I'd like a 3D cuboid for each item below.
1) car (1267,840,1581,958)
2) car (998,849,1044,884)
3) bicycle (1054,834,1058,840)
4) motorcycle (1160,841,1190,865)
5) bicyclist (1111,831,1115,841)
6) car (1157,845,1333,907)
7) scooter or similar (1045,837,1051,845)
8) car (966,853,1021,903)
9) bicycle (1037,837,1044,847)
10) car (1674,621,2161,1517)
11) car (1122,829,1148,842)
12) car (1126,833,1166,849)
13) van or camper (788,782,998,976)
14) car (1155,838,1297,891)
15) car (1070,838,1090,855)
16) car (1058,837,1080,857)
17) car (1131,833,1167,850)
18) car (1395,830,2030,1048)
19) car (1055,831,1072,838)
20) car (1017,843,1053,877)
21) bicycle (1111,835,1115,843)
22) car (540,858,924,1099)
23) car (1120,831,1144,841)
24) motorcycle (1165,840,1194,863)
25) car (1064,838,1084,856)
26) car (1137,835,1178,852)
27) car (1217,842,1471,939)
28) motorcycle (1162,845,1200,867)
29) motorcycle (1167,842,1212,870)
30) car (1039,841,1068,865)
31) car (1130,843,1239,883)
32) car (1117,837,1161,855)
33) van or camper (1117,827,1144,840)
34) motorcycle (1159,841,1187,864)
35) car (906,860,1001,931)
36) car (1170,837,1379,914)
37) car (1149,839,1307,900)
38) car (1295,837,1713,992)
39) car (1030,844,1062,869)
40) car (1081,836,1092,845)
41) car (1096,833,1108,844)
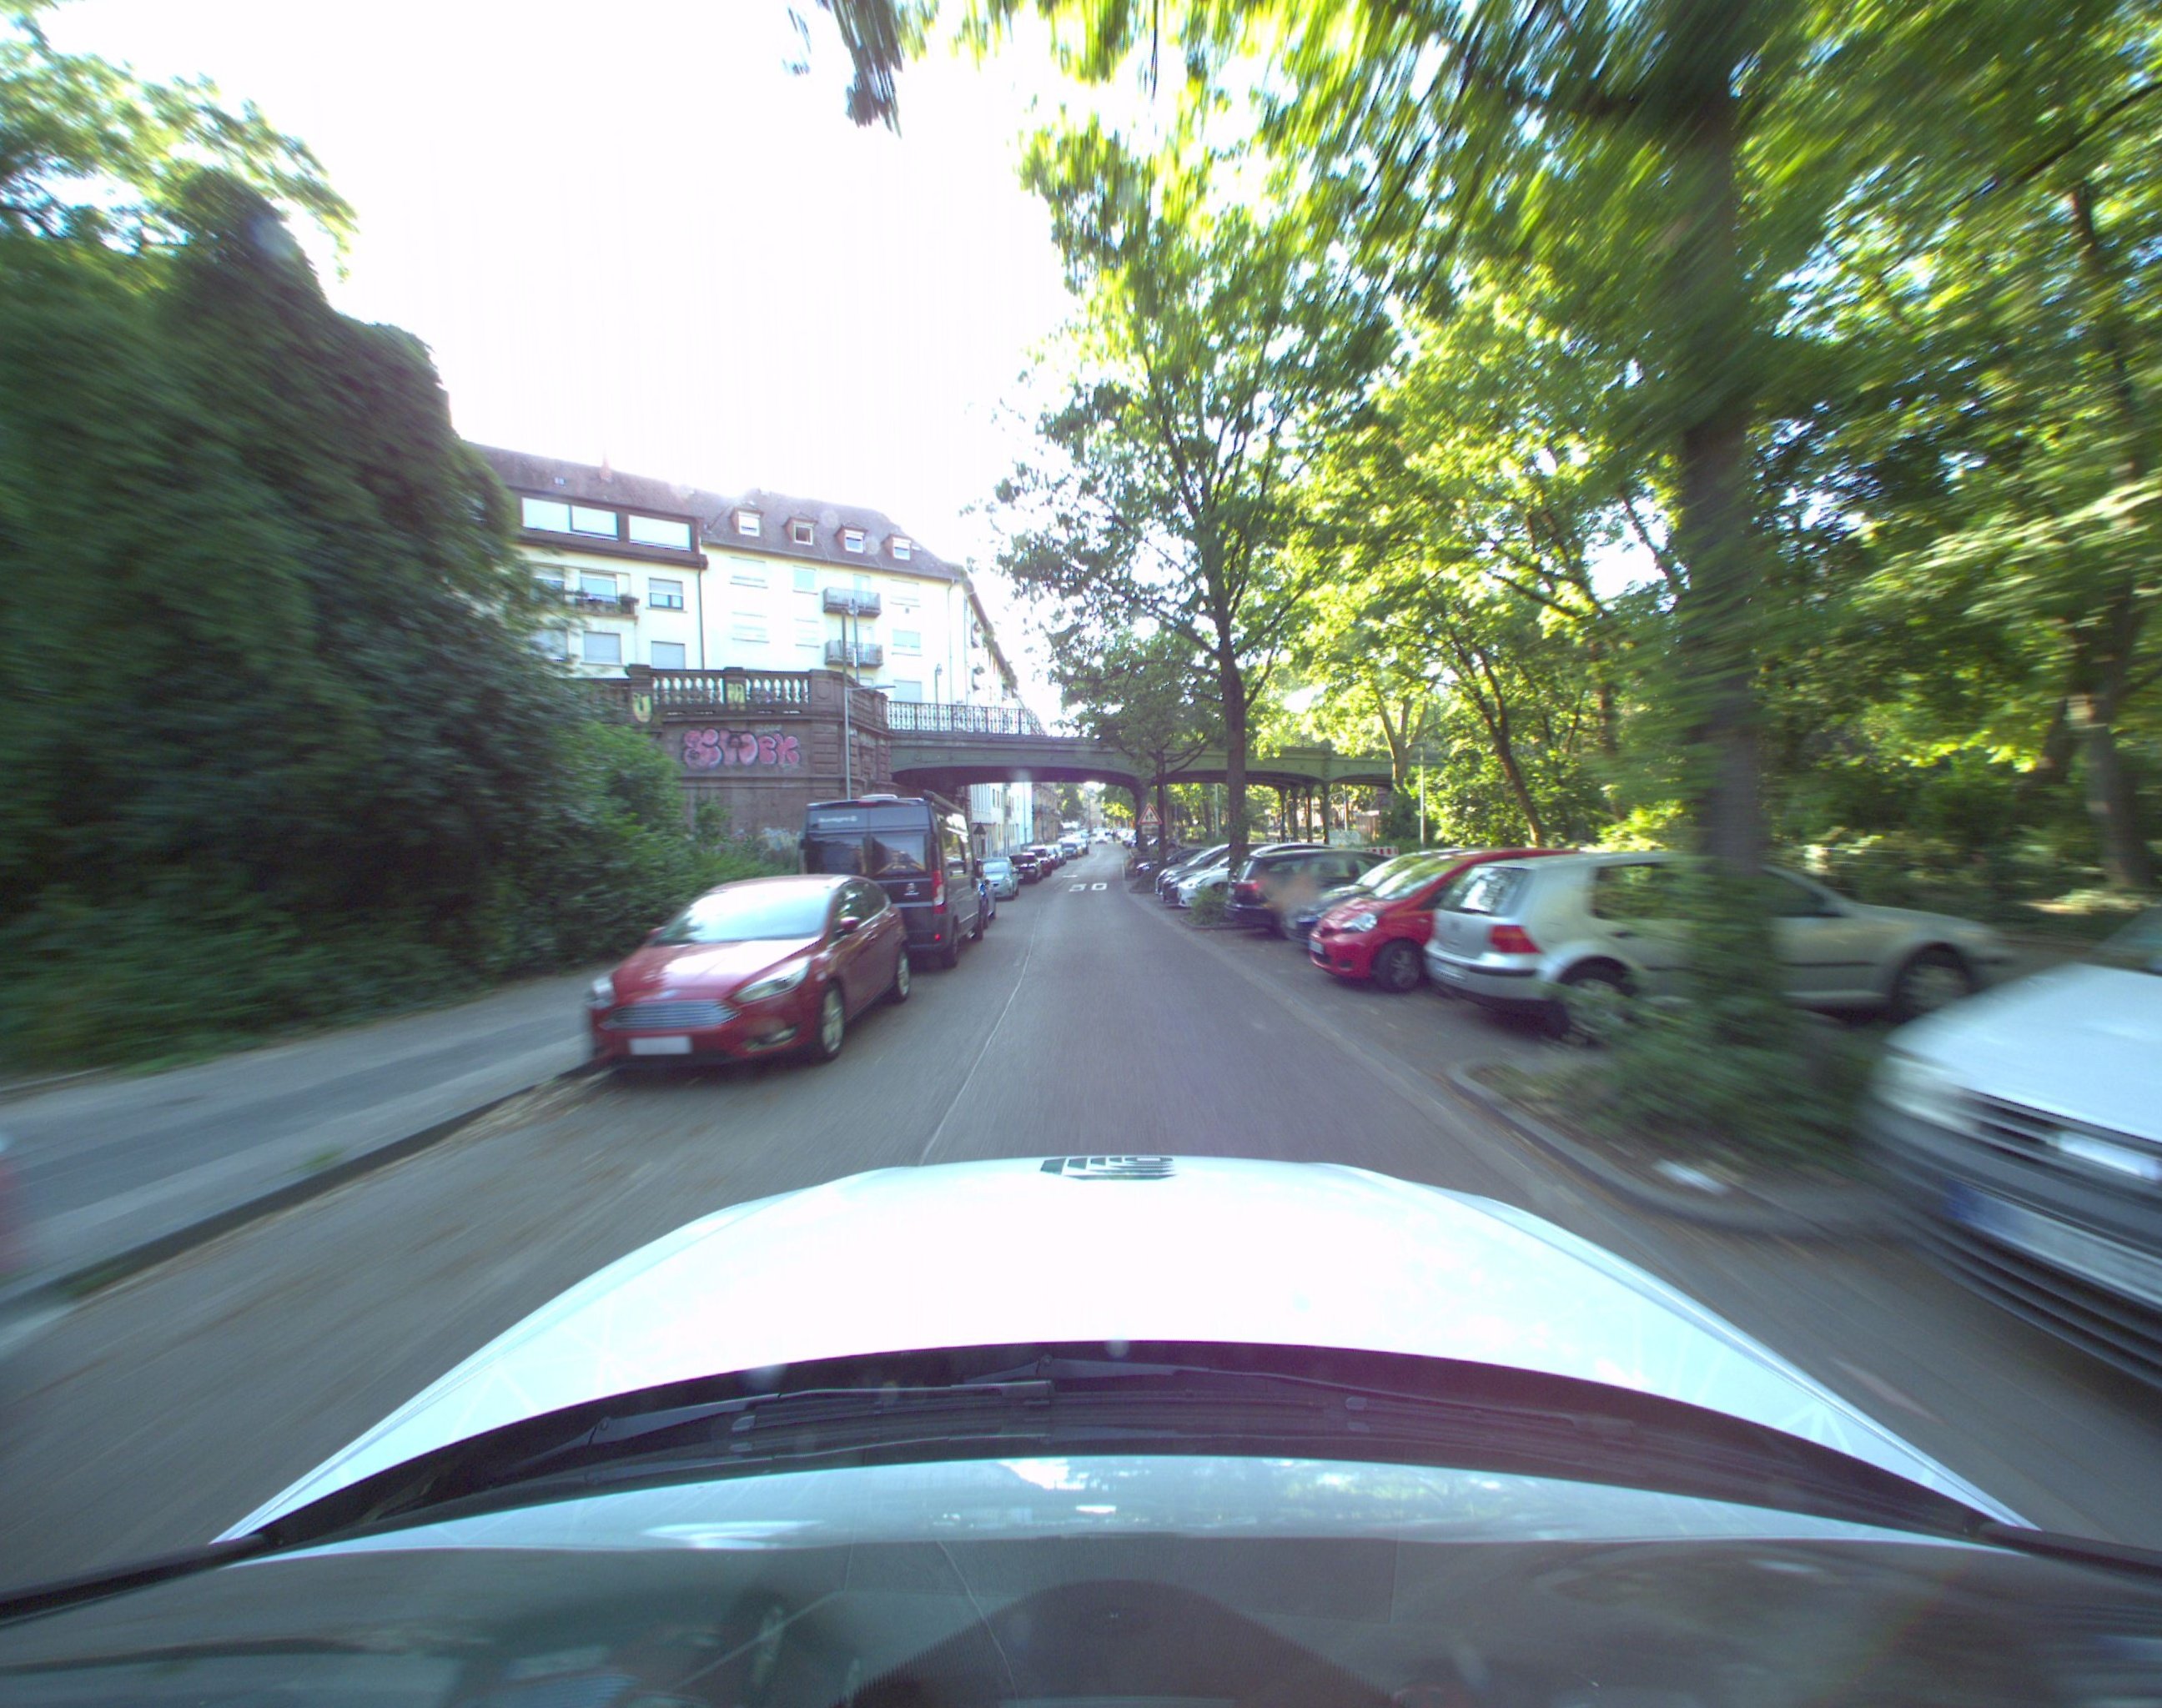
[{"bbox_3d":[4.917,0.614,12.032,3.974,1.574,1.587,-1,0,-1],"label":"car"},{"bbox_3d":[-2.857,0.556,39.800,1.710,1.464,4.003,-3,1,2],"label":"car"},{"bbox_3d":[-4.580,-3.159,150.130,0.703,1.147,1.888,-1,0,-1],"label":"bicycle"},{"bbox_3d":[5.553,-0.054,48.215,1.586,1.408,0.716,-1,0,21],"label":"motorcycle"},{"bbox_3d":[4.996,-2.826,127.262,0.625,1.573,0.802,-1,0,0],"label":"bicyclist"},{"bbox_3d":[4.325,0.561,21.978,4.361,1.533,1.876,-1,0,-1],"label":"car"},{"bbox_3d":[-5.133,-1.996,127.060,0.780,1.222,2.705,-1,0,2],"label":"scooter or similar"},{"bbox_3d":[-3.143,0.824,29.862,1.590,1.547,3.914,-3,1,-1],"label":"car"},{"bbox_3d":[-5.447,-1.624,109.040,0.734,1.206,2.516,-1,2,3],"label":"bicycle"},{"bbox_3d":[4.610,0.316,2.146,4.657,1.924,1.872,-4,0,0],"label":"car"},{"bbox_3d":[9.092,-3.169,137.925,4.203,1.863,1.763,-3,2,2],"label":"car"},{"bbox_3d":[7.437,-1.470,92.472,4.376,1.577,1.667,-3,0,6],"label":"car"},{"bbox_3d":[-2.812,0.314,13.970,2.229,2.523,6.417,-1,0,-2],"label":"van or camper"},{"bbox_3d":[4.828,0.334,27.622,4.564,1.606,1.737,-2,0,5],"label":"car"},{"bbox_3d":[-0.062,-0.781,80.153,1.732,1.479,4.004,-3,2,3],"label":"car"},{"bbox_3d":[-1.012,-0.618,69.485,1.560,1.517,3.786,-2,2,3],"label":"car"},{"bbox_3d":[7.302,-1.326,87.746,3.767,1.646,1.665,-3,0,2],"label":"car"},{"bbox_3d":[4.920,0.632,6.817,3.970,1.574,1.667,-1,0,3],"label":"car"},{"bbox_3d":[-4.275,-4.799,201.852,3.971,1.706,2.001,-1,0,2],"label":"car"},{"bbox_3d":[-2.533,0.275,45.691,1.711,1.707,4.322,-3,1,0],"label":"car"},{"bbox_3d":[5.009,-2.340,127.343,0.639,1.100,1.944,-1,0,1],"label":"bicycle"},{"bbox_3d":[-2.770,0.850,7.627,1.694,1.507,4.228,-3,0,0],"label":"car"},{"bbox_3d":[8.923,-3.100,142.385,4.199,1.452,1.652,-3,2,5],"label":"car"},{"bbox_3d":[5.936,-0.154,49.119,1.586,1.408,0.716,-1,0,21],"label":"motorcycle"},{"bbox_3d":[-0.617,-0.645,75.292,1.696,1.525,3.775,-2,1,1],"label":"car"},{"bbox_3d":[7.509,-1.018,79.896,3.773,1.401,1.765,-3,0,-3],"label":"car"},{"bbox_3d":[4.543,0.611,14.449,4.008,1.574,1.587,-1,0,-1],"label":"car"},{"bbox_3d":[5.374,0.100,43.922,1.839,1.132,0.844,-1,0,-22],"label":"motorcycle"},{"bbox_3d":[5.091,0.087,38.184,1.938,1.238,0.897,-1,0,-24],"label":"motorcycle"},{"bbox_3d":[-1.944,-0.084,57.881,1.630,1.466,4.003,-5,1,2],"label":"car"},{"bbox_3d":[4.315,0.368,34.325,4.361,1.577,1.674,-1,0,-1],"label":"car"},{"bbox_3d":[5.143,-0.727,72.069,3.767,1.401,1.829,-3,0,2],"label":"car"},{"bbox_3d":[9.351,-3.925,154.901,4.966,2.377,2.184,-1,0,-1],"label":"van or camper"},{"bbox_3d":[5.787,-0.066,51.093,1.586,1.408,0.716,-1,0,21],"label":"motorcycle"},{"bbox_3d":[-2.979,0.914,19.830,1.740,1.466,4.372,-1,0,-2],"label":"car"},{"bbox_3d":[4.488,0.486,19.396,4.518,1.696,1.907,-1,0,-1],"label":"car"},{"bbox_3d":[4.340,0.448,24.490,4.364,1.708,1.905,-1,0,-3],"label":"car"},{"bbox_3d":[4.636,0.627,9.306,3.974,1.574,1.587,-1,0,-1],"label":"car"},{"bbox_3d":[-2.258,0.143,53.231,1.682,1.441,4.003,-2,1,2],"label":"car"},{"bbox_3d":[0.871,-2.155,129.463,1.496,1.434,2.758,-3,2,6],"label":"car"},{"bbox_3d":[3.280,-2.463,127.245,1.662,1.430,4.003,-4,3,2],"label":"car"}]
